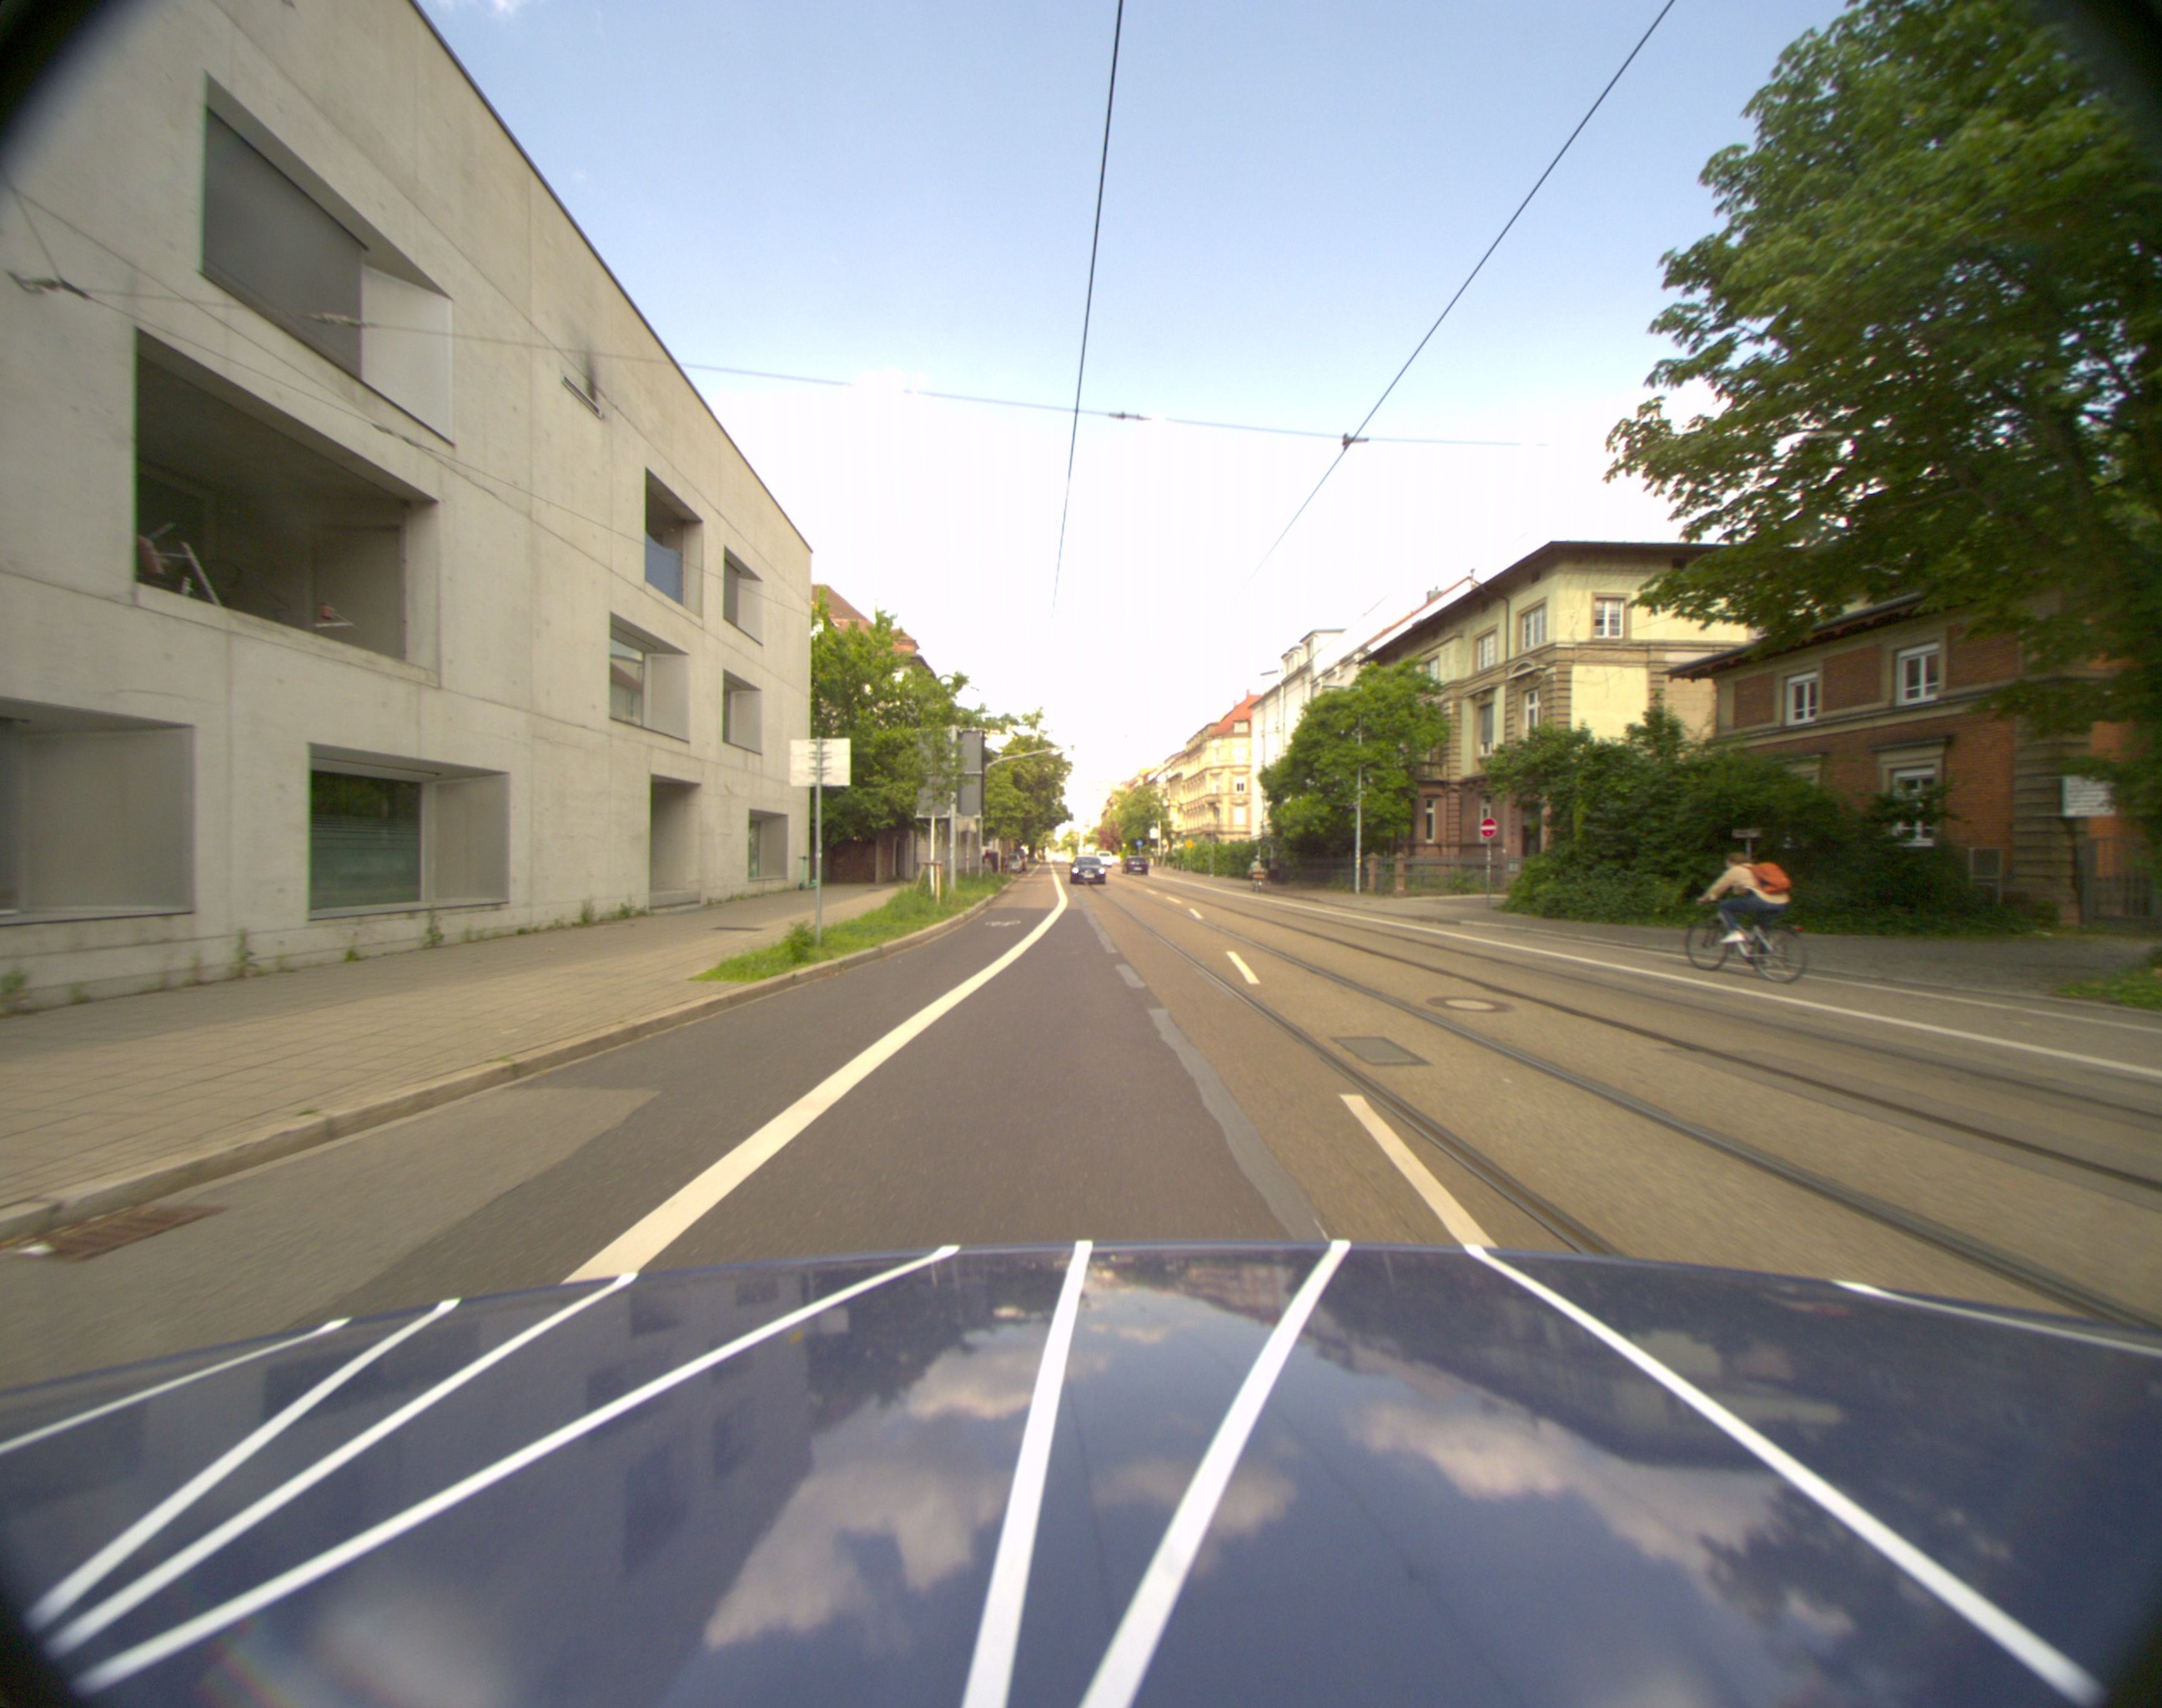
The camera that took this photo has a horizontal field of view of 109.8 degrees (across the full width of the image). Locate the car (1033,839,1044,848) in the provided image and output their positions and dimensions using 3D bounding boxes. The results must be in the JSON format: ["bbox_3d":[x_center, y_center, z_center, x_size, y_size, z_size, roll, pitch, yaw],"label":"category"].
[{"bbox_3d":[-6.646,-1.642,119.310,1.589,1.436,3.897,1,0,-3],"label":"car"}]

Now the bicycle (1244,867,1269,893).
[{"bbox_3d":[8.322,1.214,36.098,0.604,1.091,2.022,6,0,0],"label":"bicycle"}]

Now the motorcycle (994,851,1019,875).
[{"bbox_3d":[-4.896,0.585,50.051,0.982,1.533,2.442,1,0,9],"label":"motorcycle"}]

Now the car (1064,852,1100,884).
[{"bbox_3d":[0.026,0.669,39.789,1.694,1.568,4.155,1,0,-2],"label":"car"}]

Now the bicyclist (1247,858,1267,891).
[{"bbox_3d":[8.354,0.969,36.085,0.601,1.484,0.882,6,0,0],"label":"bicyclist"}]

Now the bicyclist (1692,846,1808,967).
[{"bbox_3d":[8.808,0.672,10.040,0.693,1.510,0.867,2,0,-6],"label":"bicyclist"}]

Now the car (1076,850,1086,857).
[{"bbox_3d":[-0.045,-0.093,141.176,1.633,1.399,4.128,0,0,-3],"label":"car"}]

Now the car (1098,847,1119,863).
[{"bbox_3d":[3.265,0.129,91.375,1.903,1.896,5.381,1,0,-4],"label":"car"}]

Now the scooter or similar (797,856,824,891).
[{"bbox_3d":[-9.299,0.660,26.169,0.323,1.174,1.149,1,1,10],"label":"scooter or similar"}]

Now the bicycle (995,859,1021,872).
[{"bbox_3d":[-5.147,0.824,53.551,1.781,0.897,0.692,1,1,0],"label":"bicycle"}]

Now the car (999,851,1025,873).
[{"bbox_3d":[-5.112,0.575,57.019,1.711,1.490,4.787,1,0,-3],"label":"car"}]

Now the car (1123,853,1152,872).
[{"bbox_3d":[4.418,0.651,59.765,1.693,1.394,3.929,3,0,-3],"label":"car"}]

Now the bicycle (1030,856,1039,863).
[{"bbox_3d":[-7.054,0.800,114.745,1.271,1.060,0.478,0,1,-3],"label":"bicycle"}]

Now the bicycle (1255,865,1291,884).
[{"bbox_3d":[10.613,1.118,42.155,1.146,0.903,2.987,-2,0,-2],"label":"bicycle"}]

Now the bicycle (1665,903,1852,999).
[{"bbox_3d":[8.803,1.227,9.993,0.701,1.011,1.818,2,0,-6],"label":"bicycle"}]

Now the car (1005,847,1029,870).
[{"bbox_3d":[-5.507,0.368,65.691,1.900,1.929,4.949,1,0,-3],"label":"car"}]
